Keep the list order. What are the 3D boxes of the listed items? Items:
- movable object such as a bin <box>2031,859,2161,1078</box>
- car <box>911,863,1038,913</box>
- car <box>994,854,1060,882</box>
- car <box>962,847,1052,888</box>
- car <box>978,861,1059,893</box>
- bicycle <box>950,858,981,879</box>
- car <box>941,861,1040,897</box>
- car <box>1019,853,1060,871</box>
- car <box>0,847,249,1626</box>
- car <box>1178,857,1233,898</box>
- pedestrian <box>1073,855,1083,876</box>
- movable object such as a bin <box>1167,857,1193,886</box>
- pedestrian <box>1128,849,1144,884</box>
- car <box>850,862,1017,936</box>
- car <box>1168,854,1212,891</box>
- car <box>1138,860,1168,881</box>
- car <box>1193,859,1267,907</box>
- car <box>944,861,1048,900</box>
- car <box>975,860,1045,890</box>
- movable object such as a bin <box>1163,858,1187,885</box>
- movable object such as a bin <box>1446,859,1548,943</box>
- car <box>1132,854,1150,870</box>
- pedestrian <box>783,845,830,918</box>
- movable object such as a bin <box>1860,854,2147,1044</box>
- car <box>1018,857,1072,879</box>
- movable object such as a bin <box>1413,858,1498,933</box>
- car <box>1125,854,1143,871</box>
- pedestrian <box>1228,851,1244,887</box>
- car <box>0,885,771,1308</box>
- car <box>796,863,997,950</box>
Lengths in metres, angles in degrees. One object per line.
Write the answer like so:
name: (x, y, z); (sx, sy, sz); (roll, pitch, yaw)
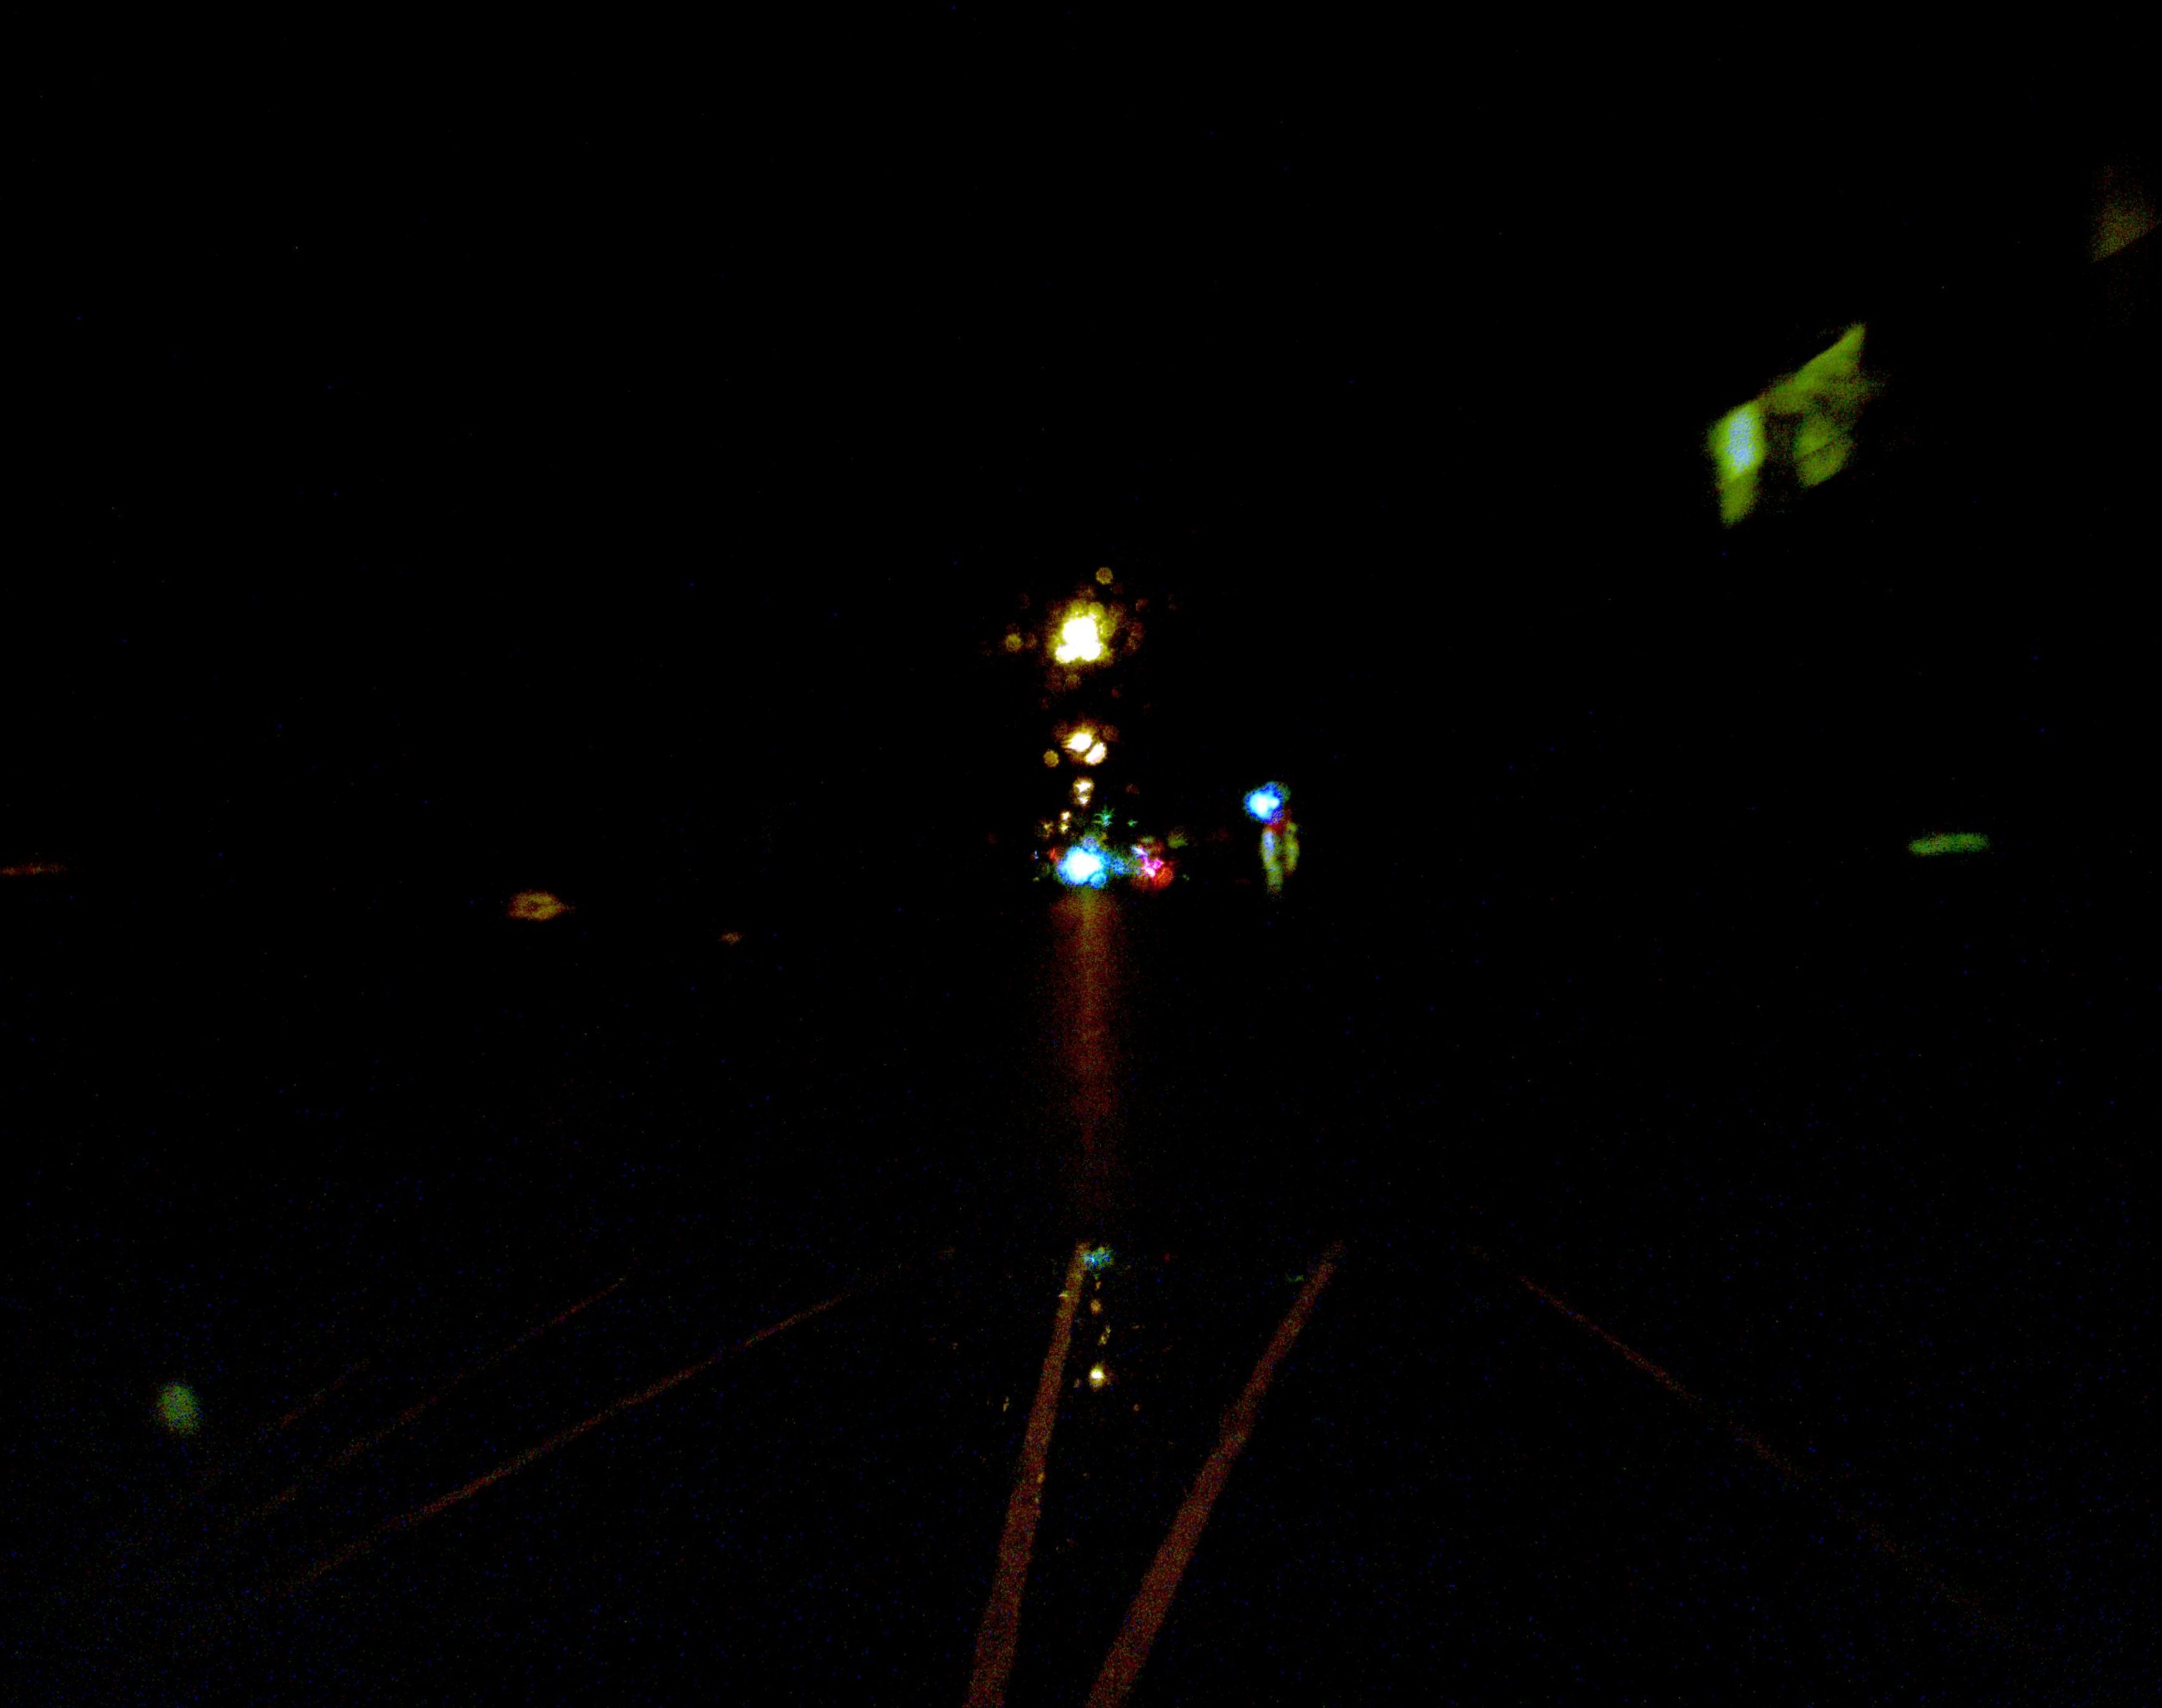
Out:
movable object such as a bin: (7.622, 0.759, 5.120); (0.977, 1.411, 1.133); (-3, 0, 3)
car: (-3.380, 1.048, 24.298); (3.691, 1.452, 1.600); (1, 0, -34)
car: (-3.723, 0.977, 52.510); (4.256, 1.848, 1.712); (1, 0, -35)
car: (-4.192, 0.737, 43.375); (4.734, 2.235, 1.941); (0, 0, -36)
car: (-3.097, 1.114, 37.665); (3.659, 1.533, 1.556); (0, 0, -29)
bicycle: (-8.137, 1.016, 53.444); (1.975, 1.327, 0.783); (2, 0, 7)
car: (-4.121, 1.091, 34.769); (4.008, 1.543, 1.994); (0, 0, -37)
car: (-5.513, 1.058, 101.533); (4.951, 2.327, 2.226); (0, 0, -34)
car: (-4.047, 0.811, 1.032); (3.571, 1.701, 1.642); (1, 0, -28)
car: (5.123, 0.922, 31.668); (1.607, 1.543, 4.025); (-2, 0, 0)
pedestrian: (-0.263, 0.954, 62.530); (0.824, 1.760, 1.177); (0, 0, 0)
movable object such as a bin: (5.350, 0.941, 41.106); (1.265, 1.451, 1.151); (-2, 0, 3)
pedestrian: (3.244, 0.740, 45.132); (0.645, 2.001, 0.676); (2, -1, -30)
car: (-3.546, 1.027, 18.560); (3.661, 1.571, 1.588); (-1, 0, -38)
car: (5.312, 0.858, 37.450); (1.607, 1.696, 3.721); (-1, 0, 0)
car: (4.800, 1.077, 51.175); (1.658, 1.351, 4.222); (-1, 0, 0)
car: (5.015, 0.940, 26.150); (1.690, 1.447, 4.315); (-2, 0, 0)
car: (-3.597, 1.079, 32.283); (4.007, 1.543, 1.800); (0, 0, -34)
car: (-3.816, 1.099, 40.850); (3.407, 1.533, 1.573); (0, 0, -36)
movable object such as a bin: (5.227, 0.980, 42.385); (1.167, 1.451, 1.107); (-2, 0, 3)
movable object such as a bin: (7.543, 0.817, 13.857); (1.143, 1.411, 1.248); (-3, 0, 3)
car: (6.041, 0.800, 77.304); (1.550, 1.434, 3.563); (-3, 0, 1)
pedestrian: (-7.156, 0.702, 19.859); (0.871, 1.845, 0.993); (1, 0, -2)
movable object such as a bin: (7.611, 0.728, 6.357); (0.977, 1.411, 1.133); (-3, 0, 3)
car: (-2.974, 1.143, 62.769); (4.113, 1.754, 1.855); (0, -1, -27)
movable object such as a bin: (7.611, 0.817, 15.493); (1.143, 1.411, 1.154); (-3, 0, 3)
car: (6.008, 0.976, 86.743); (1.871, 1.835, 4.827); (0, 0, 1)
pedestrian: (7.702, 0.729, 37.776); (0.641, 1.770, 0.549); (-1, 0, 1)
car: (-3.854, 0.938, 3.863); (4.007, 1.484, 1.730); (1, 0, -30)
car: (-3.729, 0.974, 15.530); (3.660, 1.571, 1.588); (0, 0, -33)
